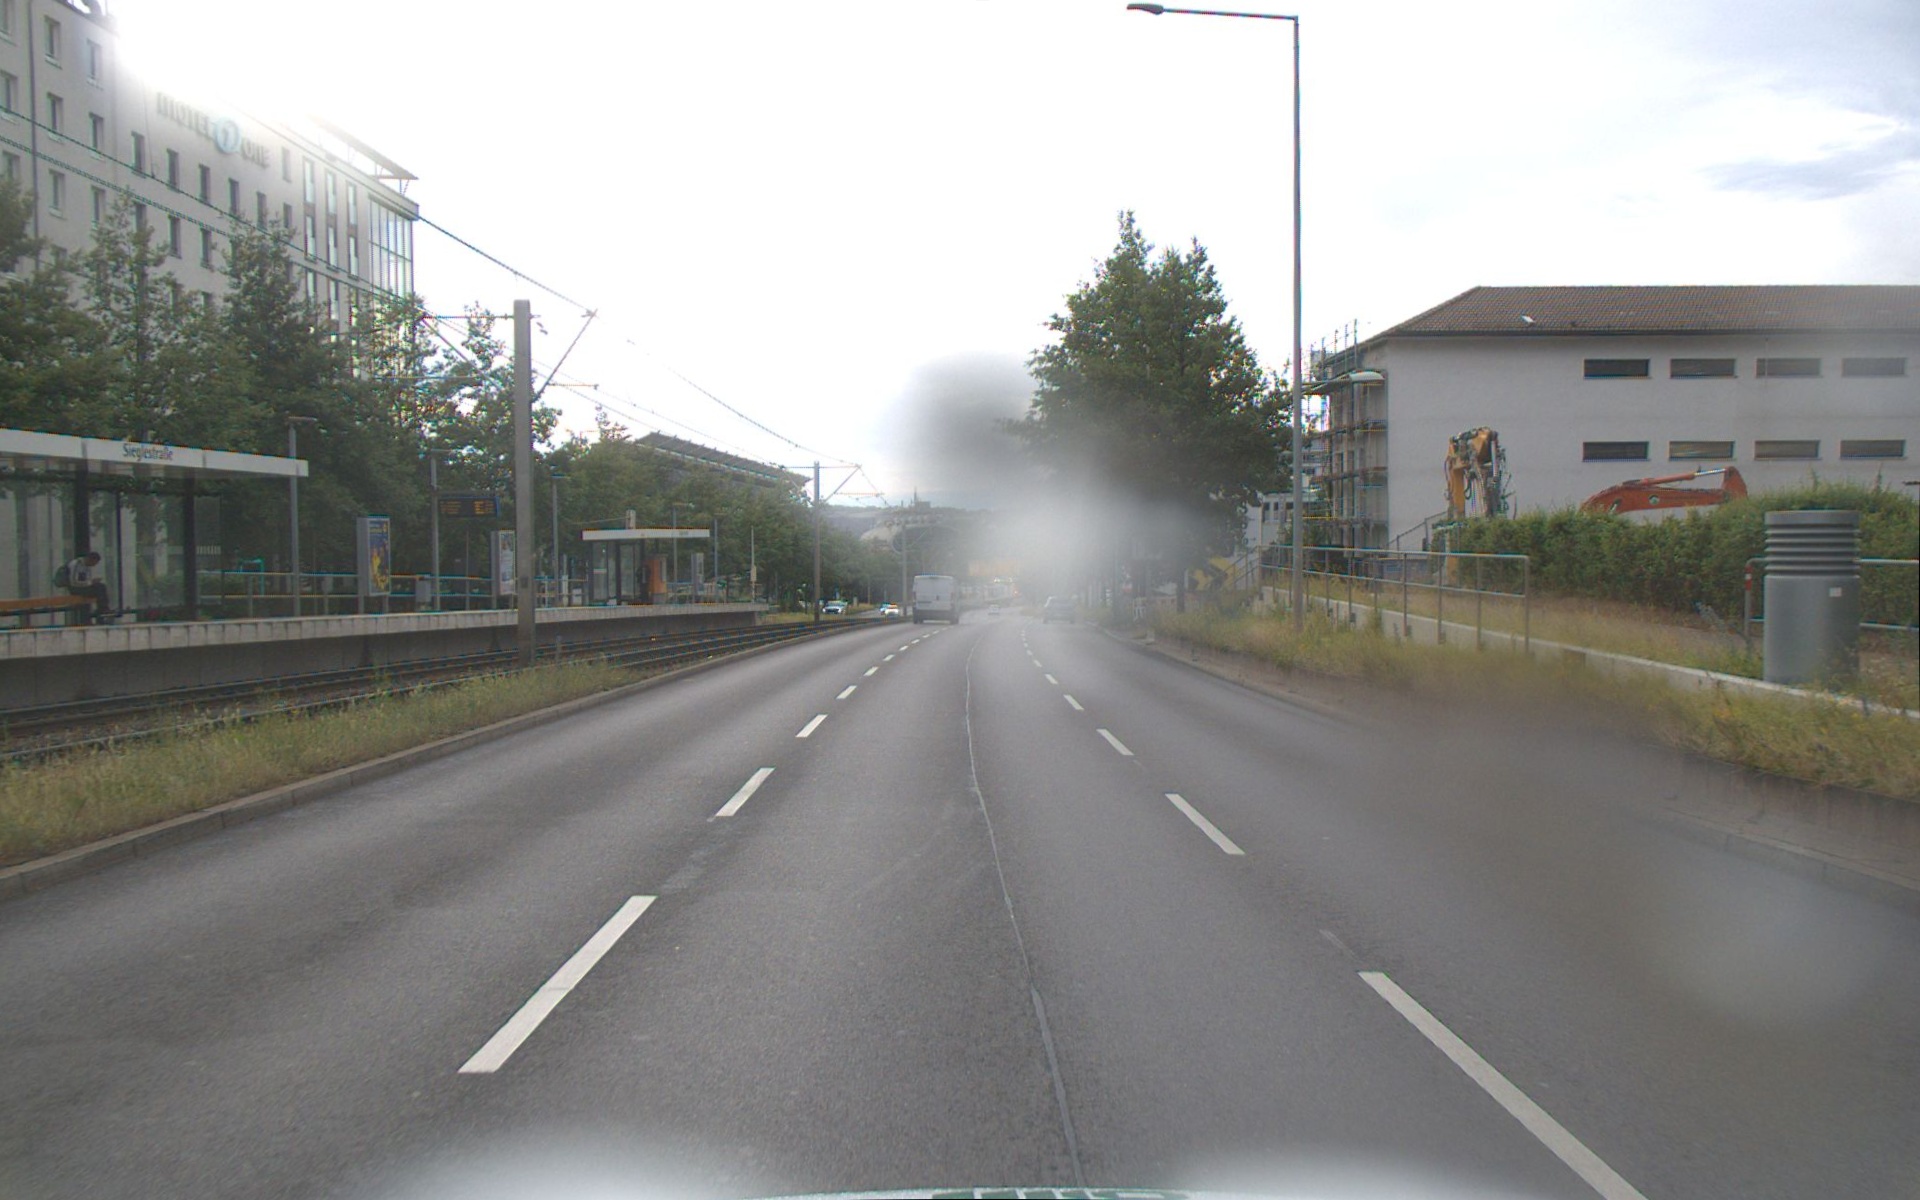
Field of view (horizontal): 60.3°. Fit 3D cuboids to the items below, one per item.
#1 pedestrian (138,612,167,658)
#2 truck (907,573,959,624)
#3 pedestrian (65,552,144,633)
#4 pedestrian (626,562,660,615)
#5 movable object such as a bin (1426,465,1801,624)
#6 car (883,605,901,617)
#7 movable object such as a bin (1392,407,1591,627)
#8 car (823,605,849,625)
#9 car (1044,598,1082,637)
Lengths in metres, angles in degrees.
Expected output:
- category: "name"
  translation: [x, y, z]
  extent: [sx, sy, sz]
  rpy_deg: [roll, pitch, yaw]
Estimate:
- category: "pedestrian"
  translation: [-28.825, 1.246, 59.042]
  extent: [0.588, 1.605, 0.835]
  rpy_deg: [1, -1, 1]
- category: "truck"
  translation: [-1.274, -0.041, 80.163]
  extent: [2.312, 2.301, 5.305]
  rpy_deg: [1, -1, 0]
- category: "pedestrian"
  translation: [-14.273, -0.128, 27.615]
  extent: [0.941, 1.322, 0.684]
  rpy_deg: [0, 0, 0]
- category: "pedestrian"
  translation: [-12.394, -0.443, 64.619]
  extent: [1.244, 2.049, 1.127]
  rpy_deg: [1, -1, -12]
- category: "movable object such as a bin"
  translation: [23.213, -1.918, 59.298]
  extent: [11.893, 5.354, 3.789]
  rpy_deg: [-1, -1, -1]
- category: "car"
  translation: [-8.751, 1.384, 212.779]
  extent: [1.799, 1.469, 4.430]
  rpy_deg: [-2, 0, 3]
- category: "movable object such as a bin"
  translation: [15.288, -2.163, 48.372]
  extent: [3.222, 5.784, 8.766]
  rpy_deg: [1, -1, 2]
- category: "car"
  translation: [-12.334, 1.446, 165.013]
  extent: [1.952, 1.879, 5.003]
  rpy_deg: [-1, 0, 2]
- category: "car"
  translation: [5.598, 0.965, 90.536]
  extent: [1.952, 2.049, 3.935]
  rpy_deg: [1, -1, 2]
